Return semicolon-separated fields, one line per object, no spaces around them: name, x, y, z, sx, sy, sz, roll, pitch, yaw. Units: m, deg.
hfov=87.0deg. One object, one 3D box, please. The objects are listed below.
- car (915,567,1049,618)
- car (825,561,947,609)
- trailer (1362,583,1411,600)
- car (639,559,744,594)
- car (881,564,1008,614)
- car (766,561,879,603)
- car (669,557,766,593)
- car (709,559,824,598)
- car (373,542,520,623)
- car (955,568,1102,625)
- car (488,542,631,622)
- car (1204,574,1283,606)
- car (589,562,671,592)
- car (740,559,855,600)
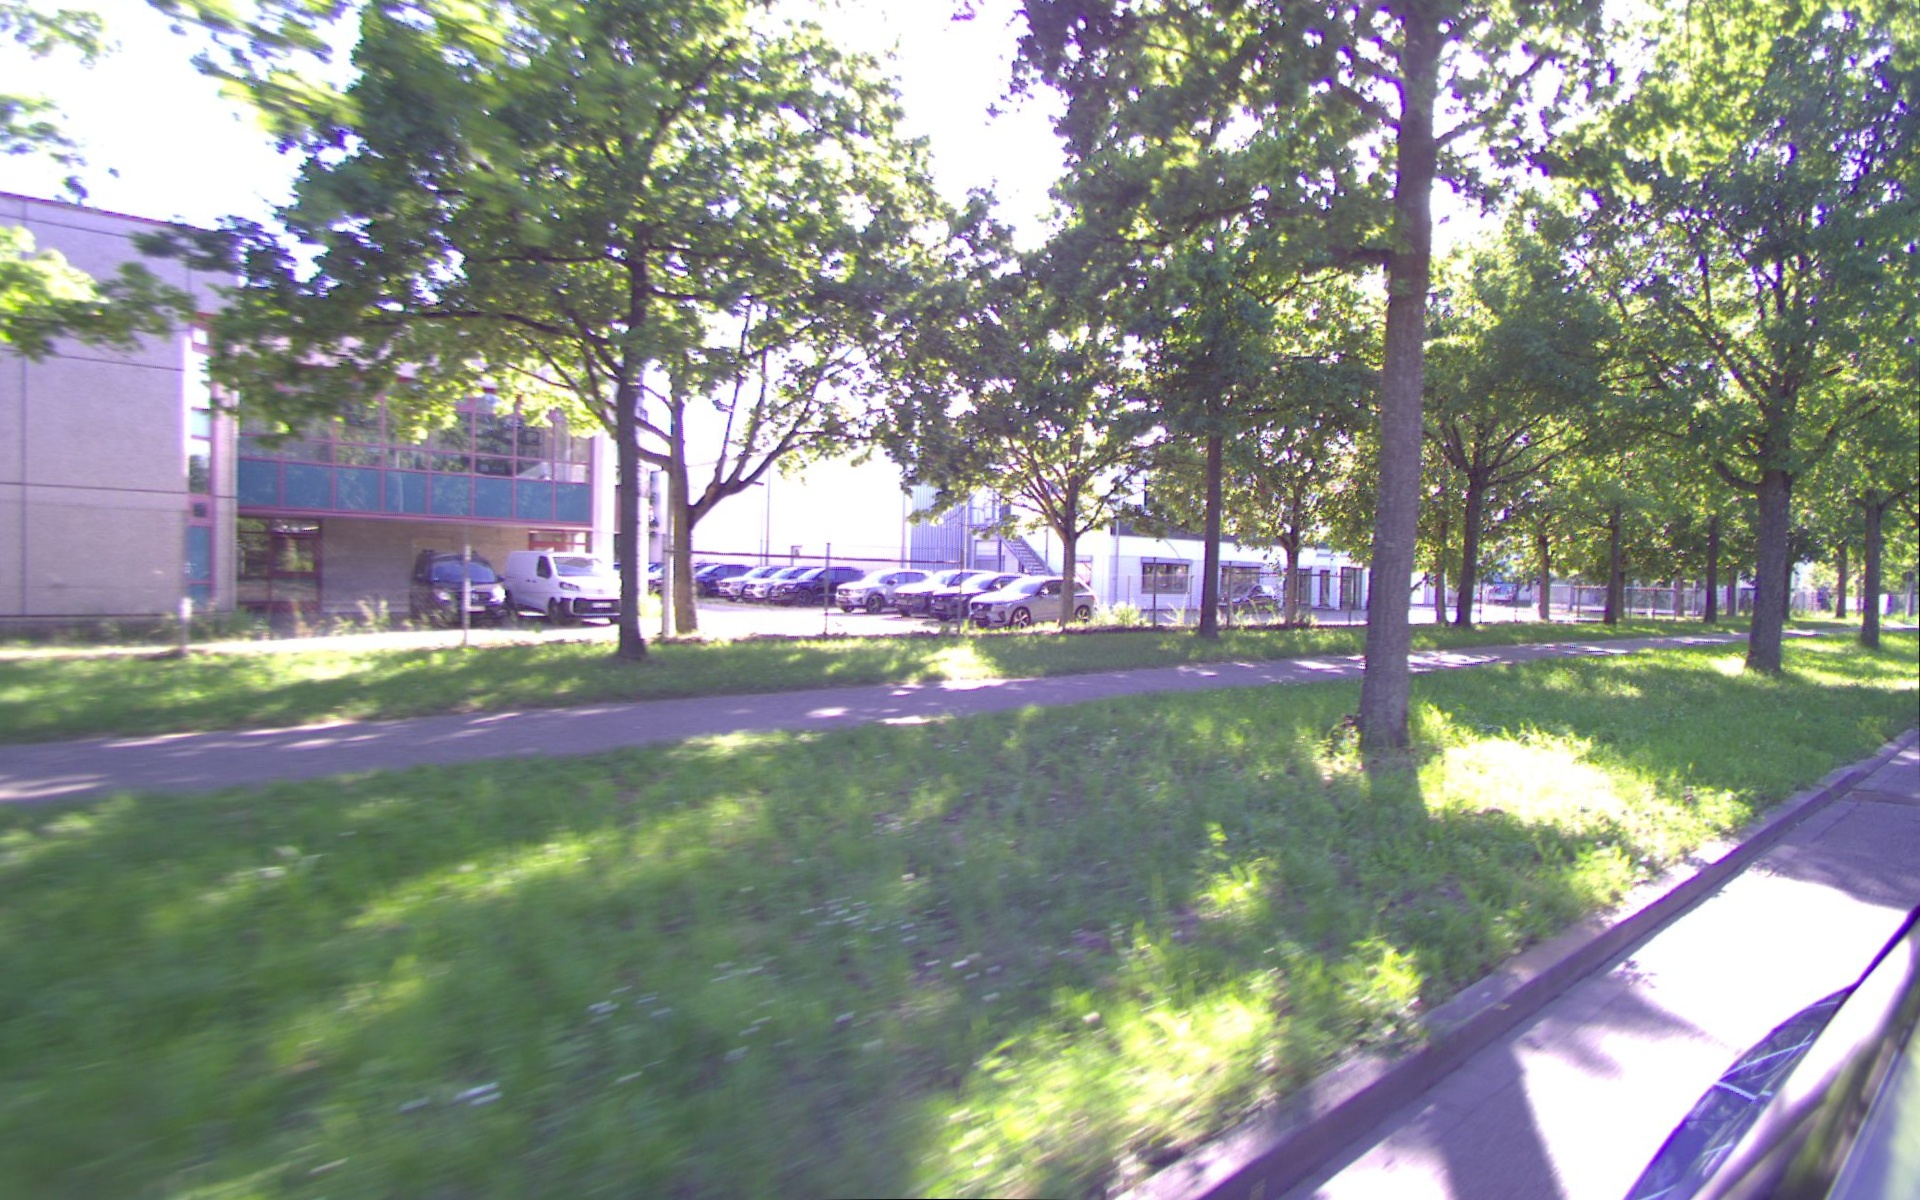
car;0.795;-0.263;34.347;4.380;1.578;1.996;0;2;-43
car;-2.747;-0.573;38.229;1.994;1.694;4.385;0;1;44
trailer;35.770;-0.740;84.870;1.694;1.282;3.604;1;2;-22
car;-13.555;-1.191;51.220;4.861;1.694;1.743;-1;0;-35
car;-0.516;-0.413;36.467;4.380;1.694;1.996;0;2;-43
car;-5.695;-0.737;42.039;4.372;1.677;1.700;-1;0;-35
car;-11.839;-1.180;49.443;4.263;1.694;1.743;-1;0;-35
car;-8.726;-0.952;45.804;4.880;1.694;1.741;-1;1;-38
car;-13.362;-0.518;26.183;1.968;1.907;4.951;-1;3;-45
car;2.210;-0.151;31.905;4.636;1.626;1.996;-1;3;-43
car;-11.255;-0.561;28.212;1.864;1.983;5.067;-1;3;-45
car;14.067;-0.507;50.128;4.083;1.525;1.720;-1;1;-38
car;-19.373;-1.341;59.387;4.263;1.694;1.743;-1;0;-35
car;-7.022;-0.889;43.955;4.630;1.694;1.706;-1;0;-35
